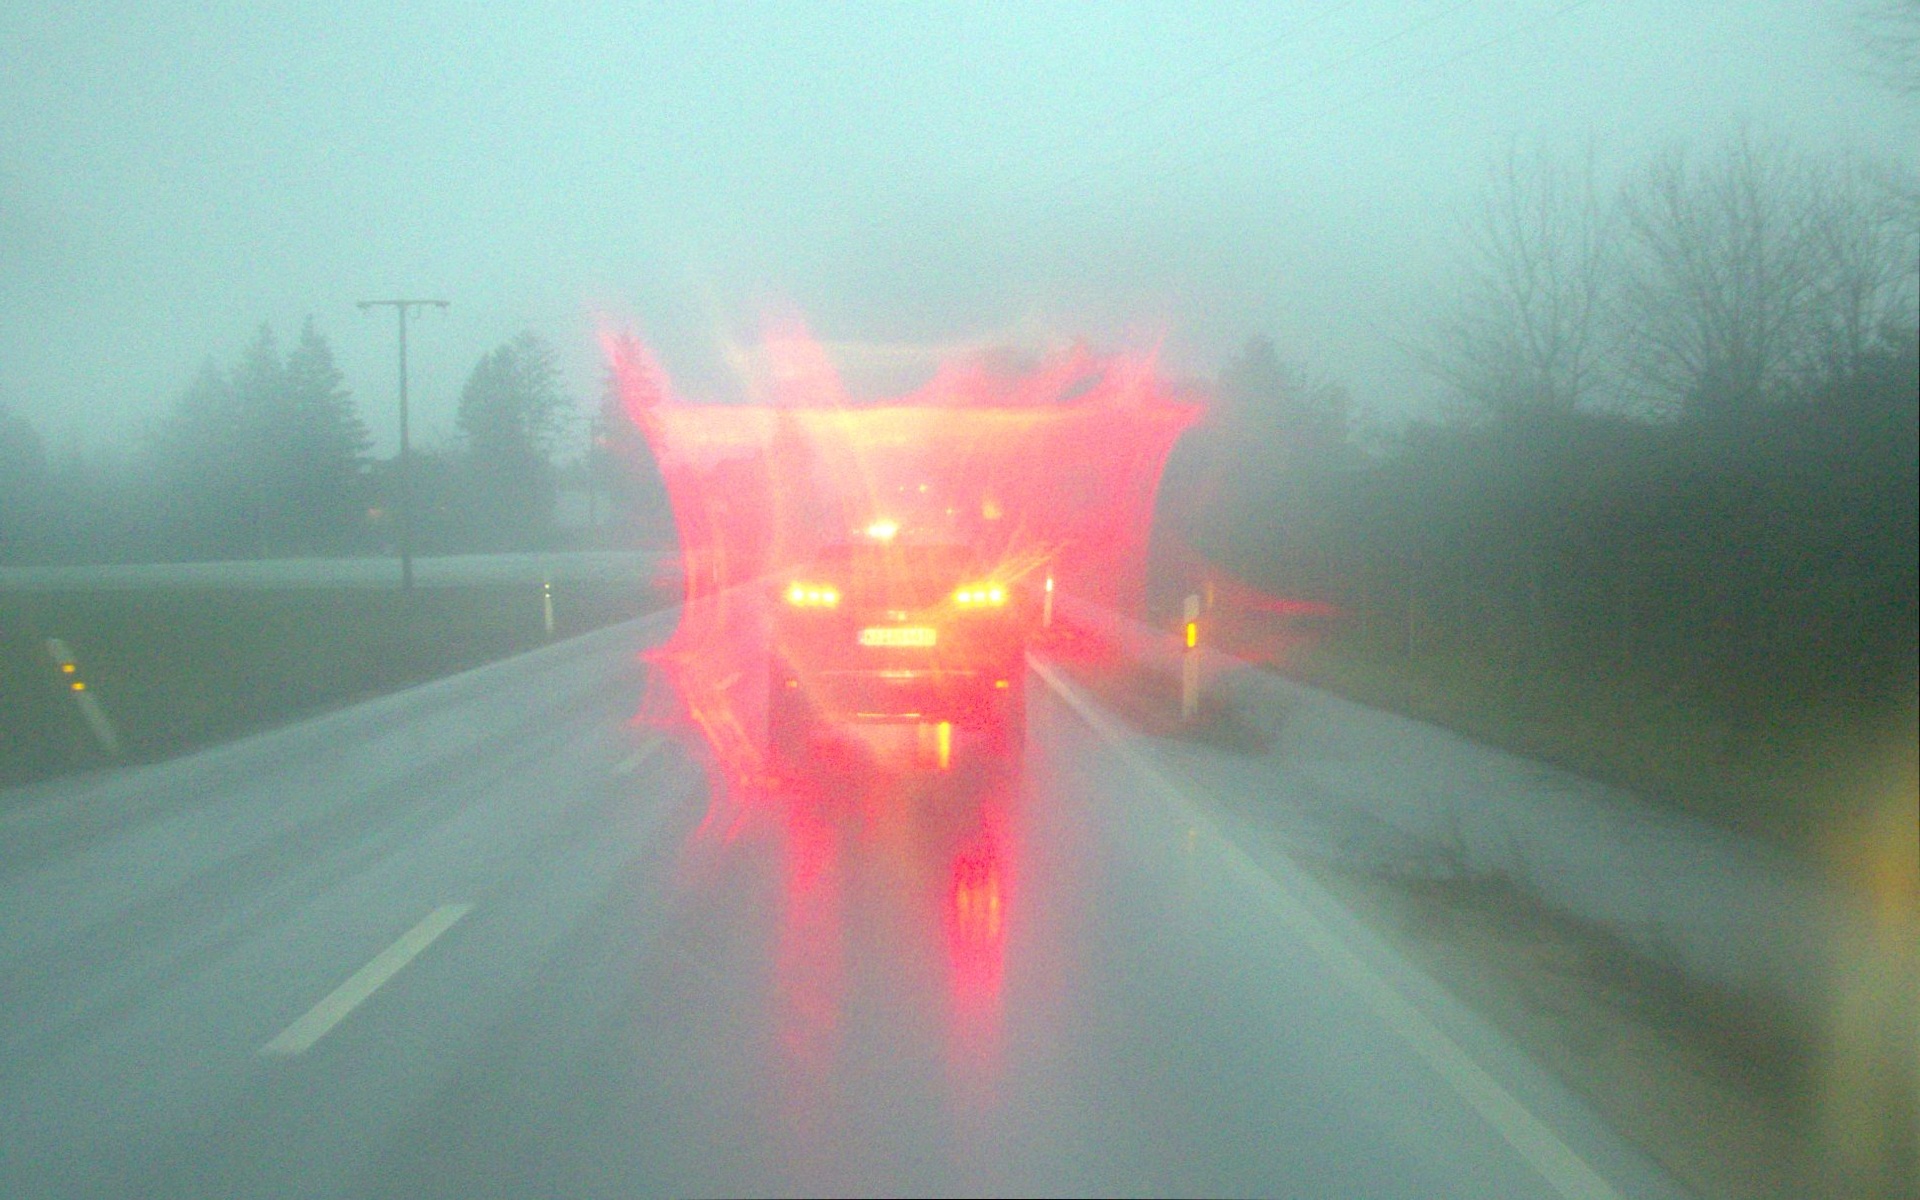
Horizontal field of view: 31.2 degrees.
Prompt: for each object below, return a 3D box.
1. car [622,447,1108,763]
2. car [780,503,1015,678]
[{"bbox_3d":[-0.640,-0.052,26.079,3.164,2.028,6.852,-1,1,0],"label":"car"},{"bbox_3d":[-0.755,-0.191,44.000,2.756,2.028,6.591,-1,1,0],"label":"car"}]
